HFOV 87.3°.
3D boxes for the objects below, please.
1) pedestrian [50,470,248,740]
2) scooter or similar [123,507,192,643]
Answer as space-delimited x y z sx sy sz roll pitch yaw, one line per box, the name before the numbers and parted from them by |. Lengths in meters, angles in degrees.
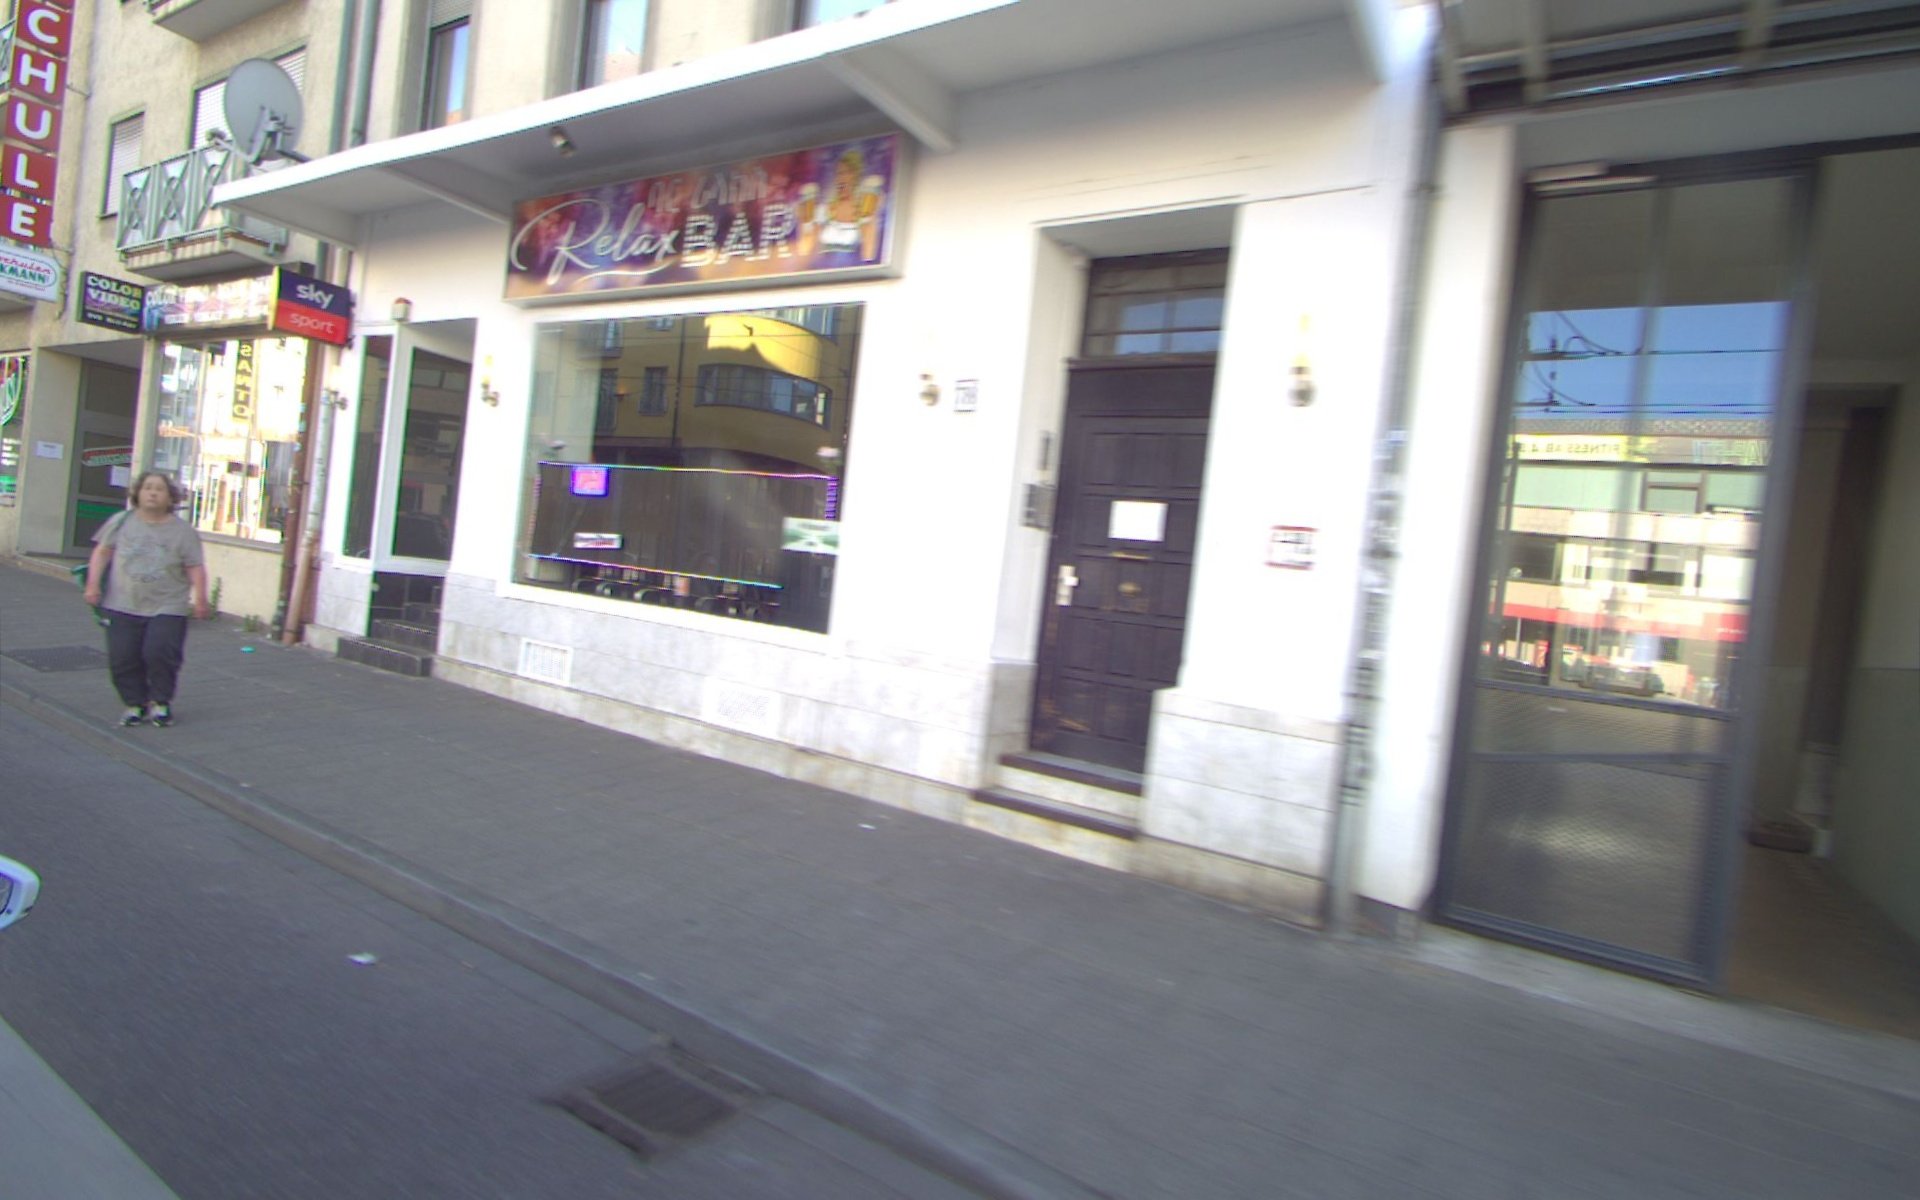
pedestrian | -5.174 0.028 6.426 0.768 1.580 0.649 7 1 31
scooter or similar | -8.359 -0.284 10.464 0.408 1.297 1.269 6 1 -41
